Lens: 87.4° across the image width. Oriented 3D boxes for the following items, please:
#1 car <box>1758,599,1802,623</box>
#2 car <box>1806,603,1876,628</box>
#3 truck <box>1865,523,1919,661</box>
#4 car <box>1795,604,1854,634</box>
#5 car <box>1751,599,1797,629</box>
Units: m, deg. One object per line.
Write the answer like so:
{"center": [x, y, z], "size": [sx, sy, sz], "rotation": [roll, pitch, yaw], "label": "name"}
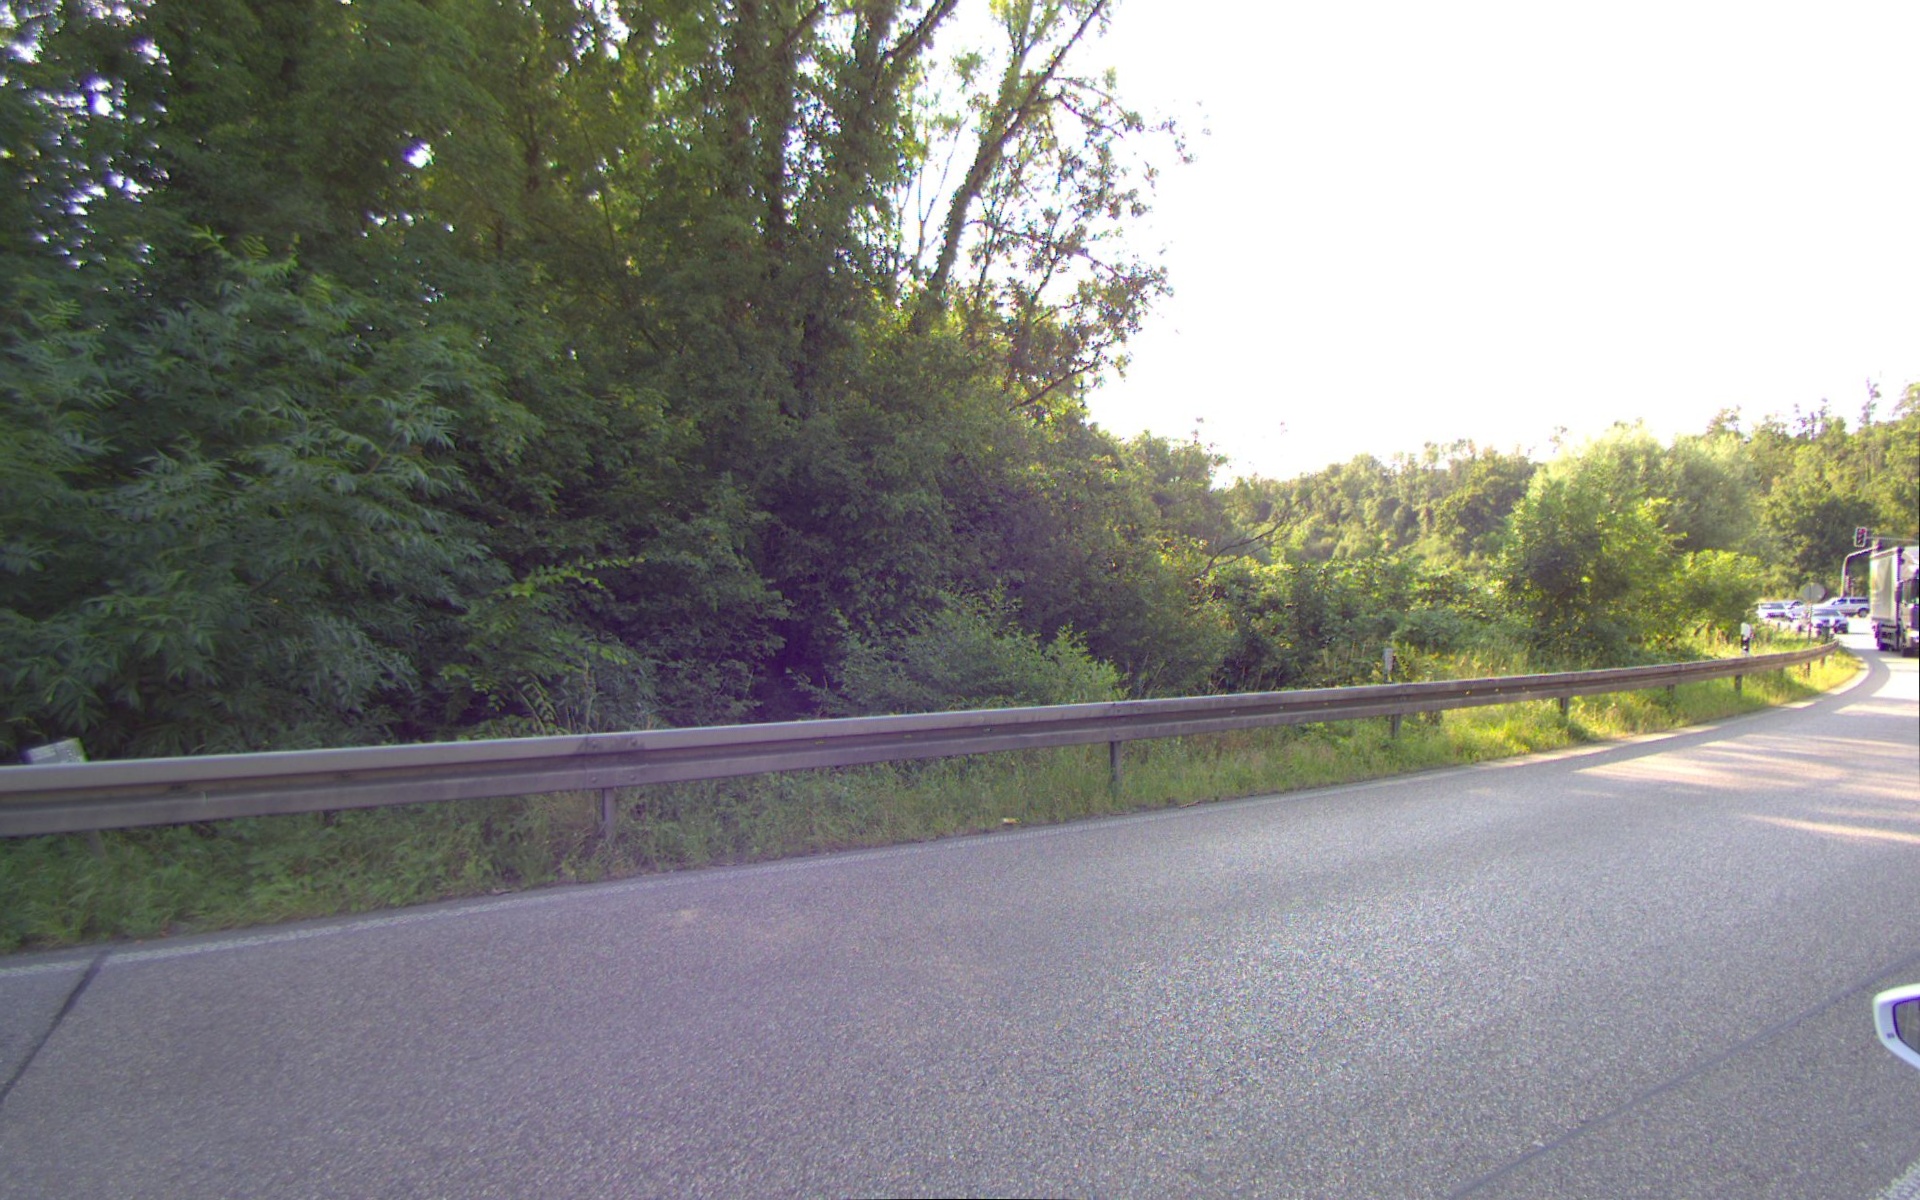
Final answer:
{"center": [66.897, 0.900, 81.956], "size": [3.964, 1.876, 1.853], "rotation": [1, 2, -38], "label": "car"}
{"center": [74.366, 1.287, 84.835], "size": [3.920, 1.876, 1.874], "rotation": [3, 2, 17], "label": "car"}
{"center": [36.267, -0.167, 37.299], "size": [2.974, 4.646, 10.200], "rotation": [2, 0, 37], "label": "truck"}
{"center": [49.856, 1.056, 58.000], "size": [1.841, 1.577, 3.990], "rotation": [3, 2, 31], "label": "car"}
{"center": [55.519, 0.932, 68.556], "size": [1.841, 1.876, 3.990], "rotation": [3, 2, 32], "label": "car"}
